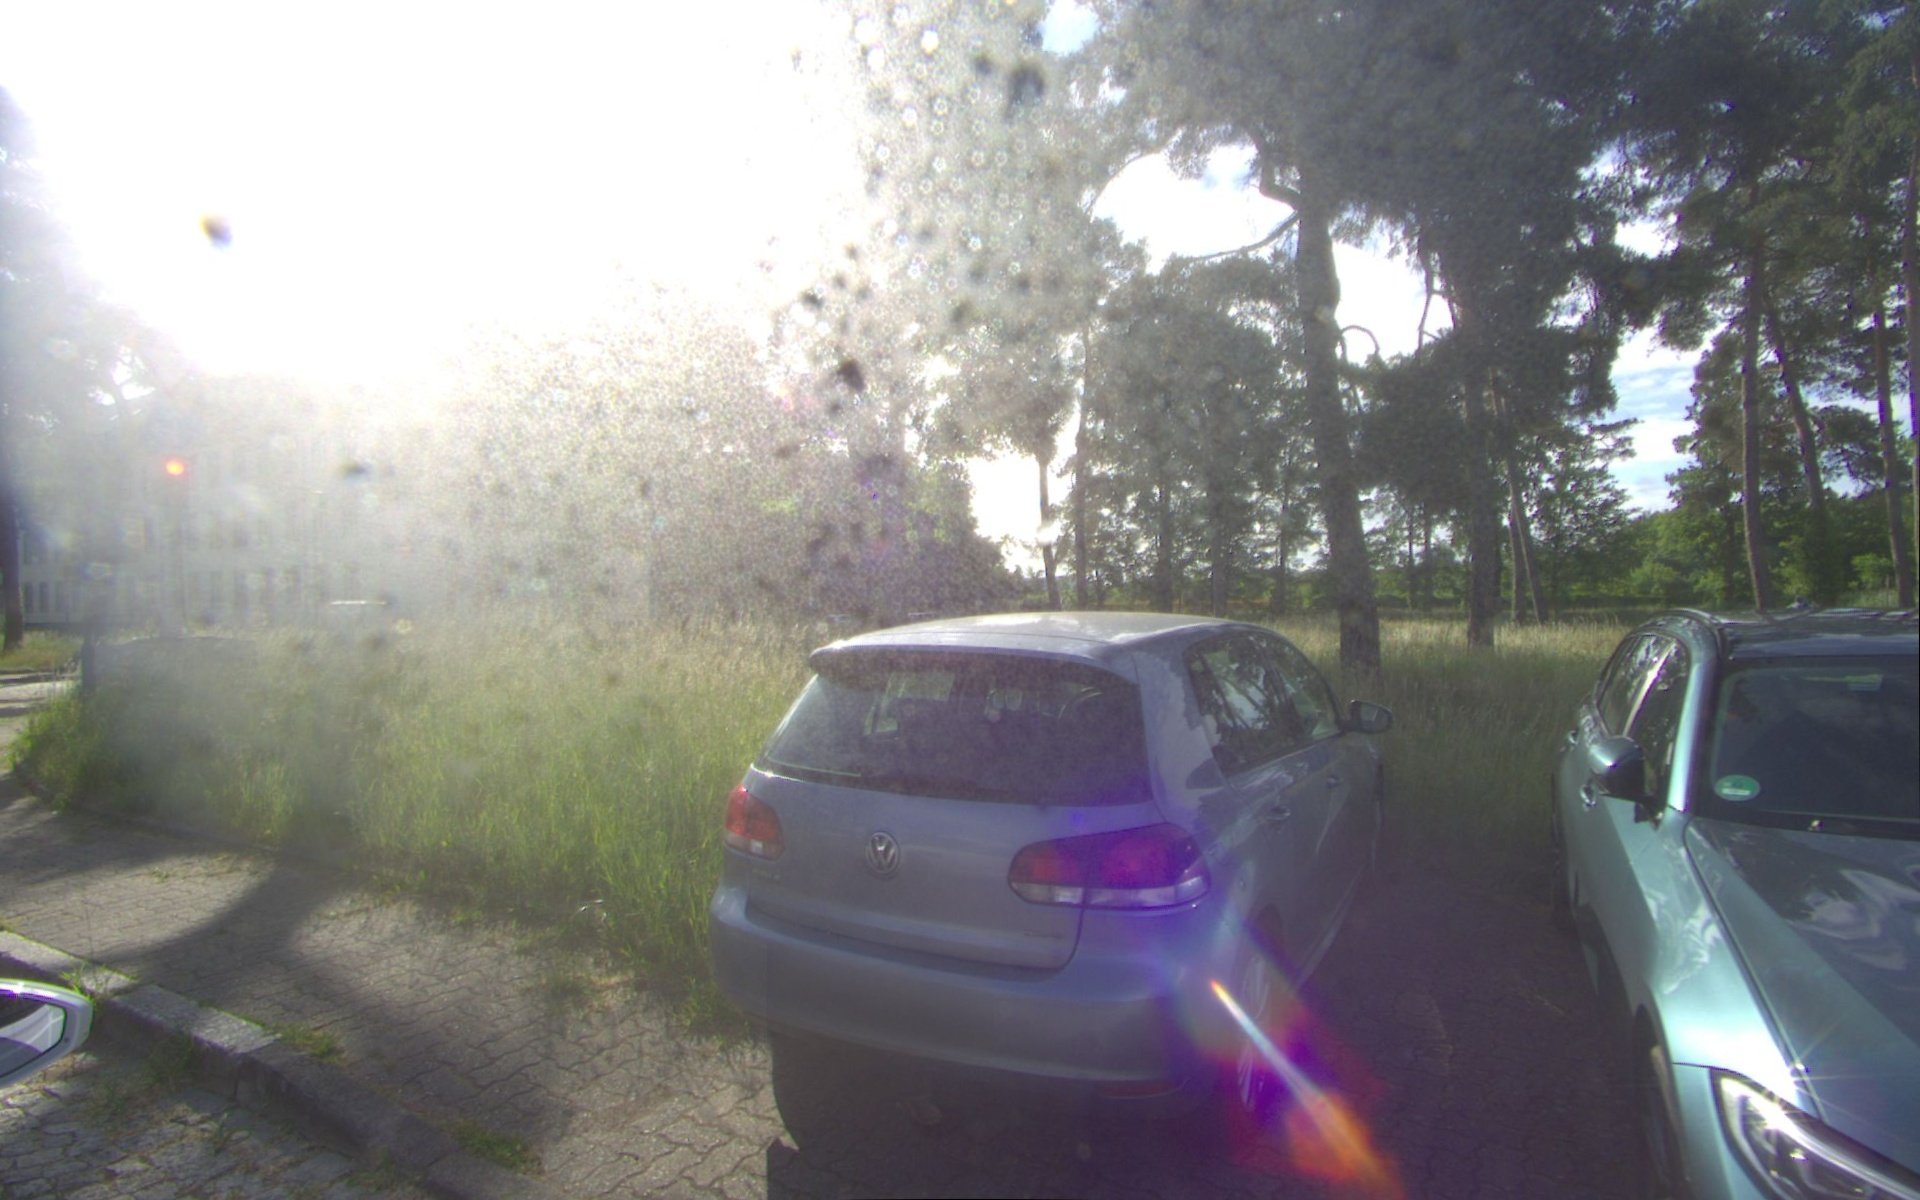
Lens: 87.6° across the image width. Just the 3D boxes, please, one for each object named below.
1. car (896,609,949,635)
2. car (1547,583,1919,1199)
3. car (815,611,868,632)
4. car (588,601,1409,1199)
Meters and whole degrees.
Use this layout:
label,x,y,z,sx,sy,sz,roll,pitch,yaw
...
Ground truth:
label,x,y,z,sx,sy,sz,roll,pitch,yaw
car,-2.458,1.445,66.836,1.827,1.619,3.984,0,0,27
car,2.898,0.723,2.945,1.798,1.537,4.490,0,1,28
car,-8.391,1.505,71.268,1.818,1.483,3.984,0,0,27
car,0.684,0.768,4.290,1.843,1.480,4.009,0,0,30
